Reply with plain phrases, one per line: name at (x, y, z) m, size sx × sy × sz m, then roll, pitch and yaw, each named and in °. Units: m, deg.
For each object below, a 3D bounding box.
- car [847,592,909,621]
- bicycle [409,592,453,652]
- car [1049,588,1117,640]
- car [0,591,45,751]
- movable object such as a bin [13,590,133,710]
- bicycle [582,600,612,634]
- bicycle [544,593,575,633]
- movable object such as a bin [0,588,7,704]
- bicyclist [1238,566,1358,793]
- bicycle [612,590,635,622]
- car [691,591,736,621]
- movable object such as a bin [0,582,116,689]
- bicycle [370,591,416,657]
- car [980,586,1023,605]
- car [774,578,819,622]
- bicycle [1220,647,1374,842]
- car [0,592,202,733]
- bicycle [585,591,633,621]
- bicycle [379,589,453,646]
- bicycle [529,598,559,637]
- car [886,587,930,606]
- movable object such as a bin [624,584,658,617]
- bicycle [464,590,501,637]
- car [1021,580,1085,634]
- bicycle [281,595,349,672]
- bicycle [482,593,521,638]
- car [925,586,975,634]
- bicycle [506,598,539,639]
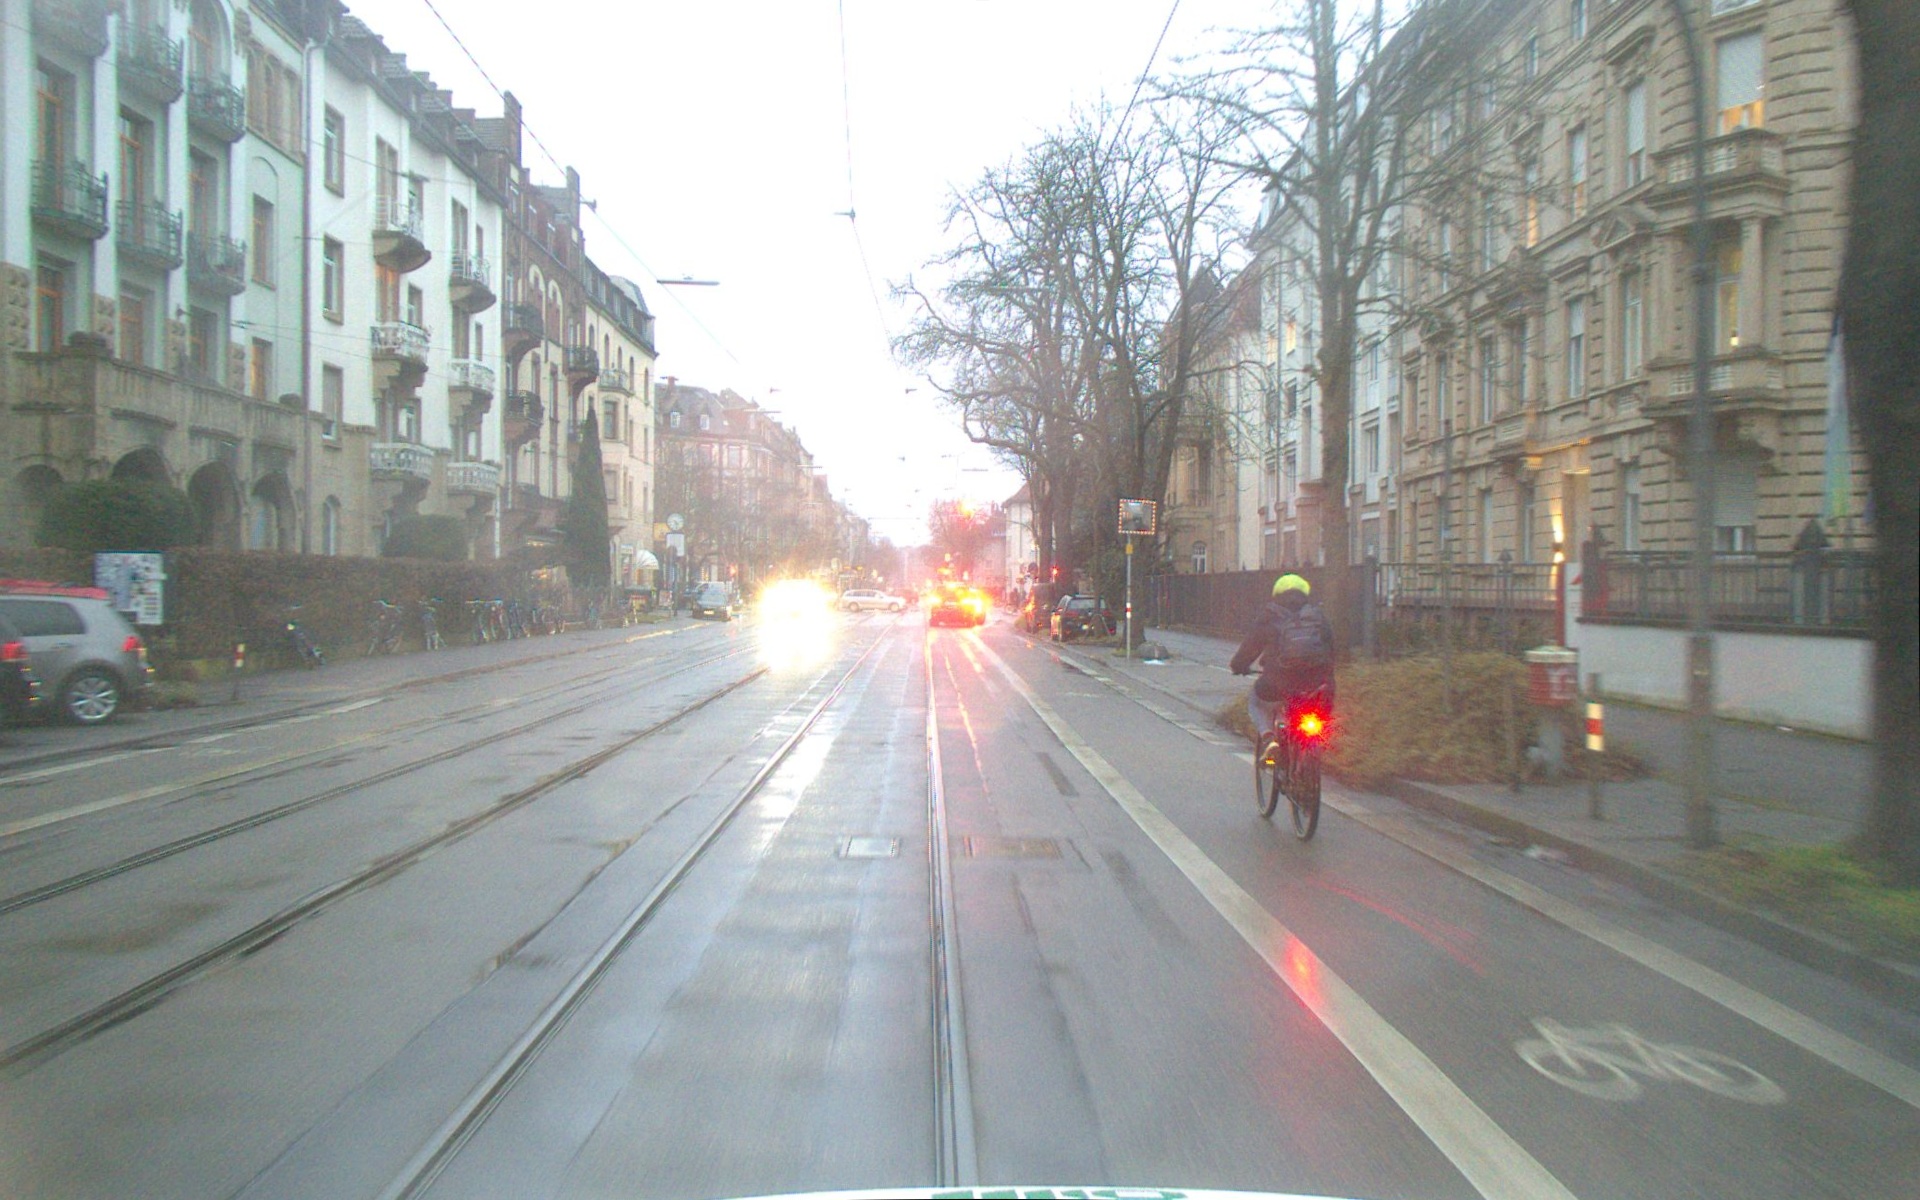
car at (-5.344, 0.416, 107.872) m, size 3.905 × 1.758 × 1.740 m, roll 0°, pitch 1°, yaw 0°
bicycle at (-11.335, 0.462, 35.483) m, size 0.679 × 1.233 × 1.593 m, roll -1°, pitch 1°, yaw -10°
car at (3.759, 0.401, 51.140) m, size 1.643 × 1.485 × 4.041 m, roll -1°, pitch 1°, yaw -2°
car at (-10.809, 0.688, 15.093) m, size 1.800 × 1.496 × 3.974 m, roll 0°, pitch 1°, yaw 43°
movable object such as a bin at (-11.454, 0.623, 21.411) m, size 1.246 × 1.475 × 1.104 m, roll -1°, pitch 1°, yaw -23°
bicycle at (-11.637, 0.546, 53.026) m, size 0.613 × 1.035 × 1.805 m, roll -1°, pitch 1°, yaw -3°
bicycle at (-11.603, 0.367, 47.968) m, size 0.476 × 1.118 × 1.930 m, roll -1°, pitch 1°, yaw -3°
movable object such as a bin at (-12.758, 0.597, 20.910) m, size 1.074 × 1.475 × 1.104 m, roll -1°, pitch 1°, yaw -23°
bicyclist at (2.272, 0.508, 11.201) m, size 0.642 × 1.471 × 0.849 m, roll 0°, pitch 1°, yaw 1°
bicycle at (-11.786, 0.198, 58.006) m, size 0.602 × 1.099 × 1.809 m, roll -1°, pitch 1°, yaw -6°
car at (-12.679, 0.297, 85.365) m, size 1.796 × 1.472 × 3.999 m, roll 0°, pitch 1°, yaw -1°
movable object such as a bin at (-13.134, 0.498, 23.775) m, size 1.236 × 1.475 × 1.326 m, roll 0°, pitch 1°, yaw 6°
bicycle at (-11.157, 0.459, 32.574) m, size 0.618 × 1.233 × 1.593 m, roll -1°, pitch 1°, yaw -10°
car at (3.974, -0.420, 157.413) m, size 3.902 × 1.747 × 1.905 m, roll 0°, pitch 1°, yaw 7°
car at (-7.740, -0.018, 78.693) m, size 2.006 × 1.955 × 5.095 m, roll -1°, pitch 1°, yaw -5°
bicycle at (2.264, 0.931, 11.346) m, size 0.693 × 1.116 × 2.030 m, roll 0°, pitch 1°, yaw 2°
car at (-10.722, 0.674, 18.187) m, size 3.970 × 1.453 × 1.818 m, roll -2°, pitch 2°, yaw -45°
bicycle at (-13.616, 0.232, 64.154) m, size 1.771 × 1.099 × 0.615 m, roll -1°, pitch 1°, yaw -8°
bicycle at (-12.814, 0.407, 38.967) m, size 1.556 × 1.286 × 0.490 m, roll -1°, pitch -4°, yaw 2°
bicycle at (-11.512, 0.475, 45.829) m, size 0.679 × 1.049 × 1.592 m, roll -1°, pitch 0°, yaw -10°
car at (-4.918, -0.353, 157.706) m, size 3.902 × 1.747 × 1.905 m, roll 0°, pitch 1°, yaw 7°
movable object such as a bin at (-15.374, 0.010, 79.687) m, size 1.380 × 1.557 × 1.364 m, roll 0°, pitch 1°, yaw -2°
bicycle at (-11.400, 0.338, 39.542) m, size 0.679 × 1.049 × 1.590 m, roll -1°, pitch -3°, yaw -10°
car at (3.478, 0.225, 62.643) m, size 1.953 × 1.933 × 5.025 m, roll -1°, pitch 1°, yaw -2°
bicycle at (-10.965, 0.556, 28.172) m, size 0.679 × 1.233 × 1.594 m, roll -1°, pitch 1°, yaw -6°
bicycle at (-11.482, 0.397, 41.429) m, size 0.679 × 1.049 × 1.594 m, roll -1°, pitch -3°, yaw -6°
car at (-0.460, 0.449, 70.345) m, size 1.953 × 1.930 × 4.756 m, roll 1°, pitch -1°, yaw -2°
bicycle at (-11.460, 0.492, 43.357) m, size 0.679 × 1.049 × 1.592 m, roll -1°, pitch -1°, yaw -10°
